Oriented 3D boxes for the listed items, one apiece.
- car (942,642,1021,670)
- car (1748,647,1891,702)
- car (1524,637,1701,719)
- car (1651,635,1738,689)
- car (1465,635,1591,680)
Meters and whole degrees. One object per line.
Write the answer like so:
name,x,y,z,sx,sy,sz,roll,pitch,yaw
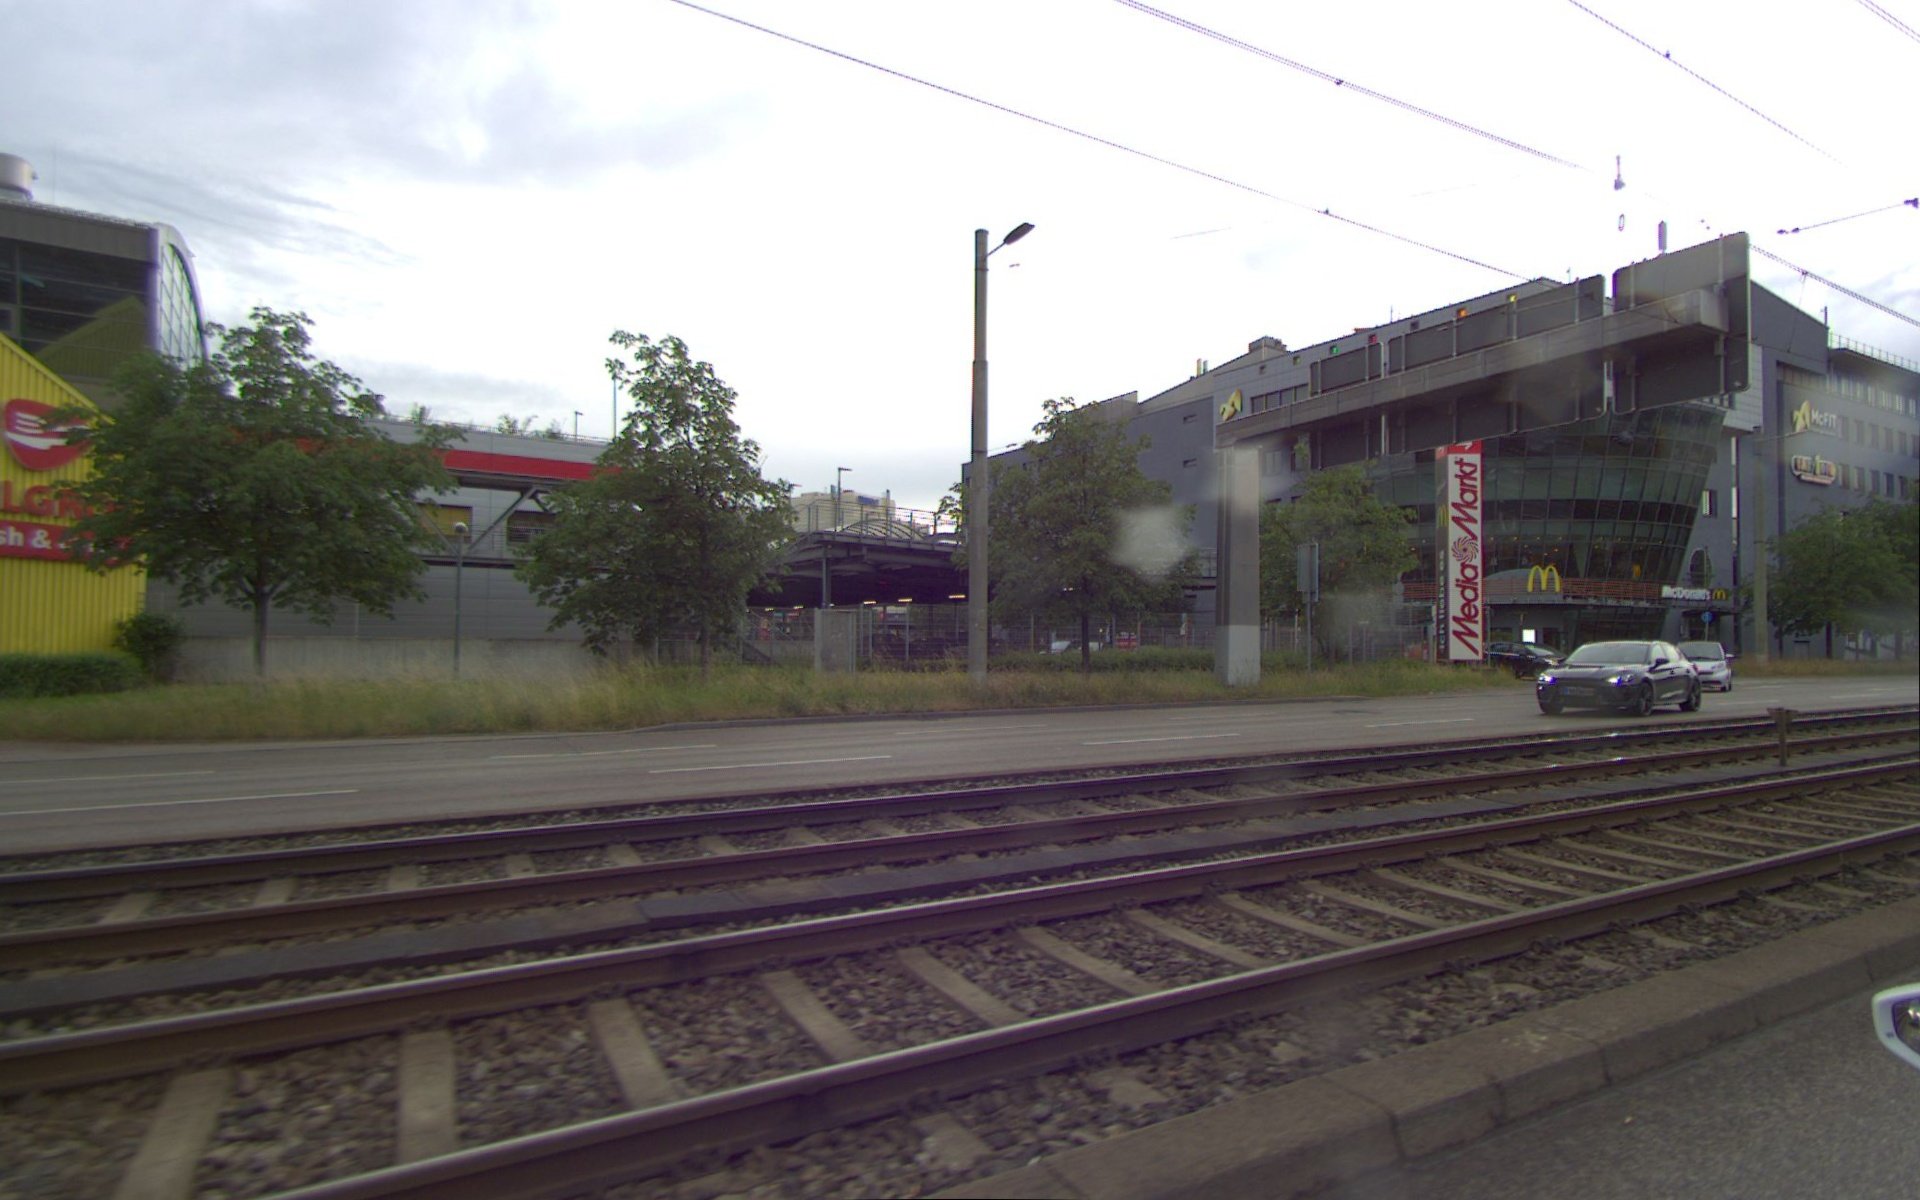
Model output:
car,1.190,2.998,53.975,4.025,1.299,1.665,1,0,10
car,34.299,2.911,40.176,1.980,2.040,3.962,1,-3,-35
car,12.967,1.480,19.874,4.202,1.447,1.788,2,-4,-40
car,22.981,1.927,31.535,1.573,1.557,2.949,-3,-3,25
car,23.758,2.416,42.131,1.981,1.758,4.171,2,-4,-35
